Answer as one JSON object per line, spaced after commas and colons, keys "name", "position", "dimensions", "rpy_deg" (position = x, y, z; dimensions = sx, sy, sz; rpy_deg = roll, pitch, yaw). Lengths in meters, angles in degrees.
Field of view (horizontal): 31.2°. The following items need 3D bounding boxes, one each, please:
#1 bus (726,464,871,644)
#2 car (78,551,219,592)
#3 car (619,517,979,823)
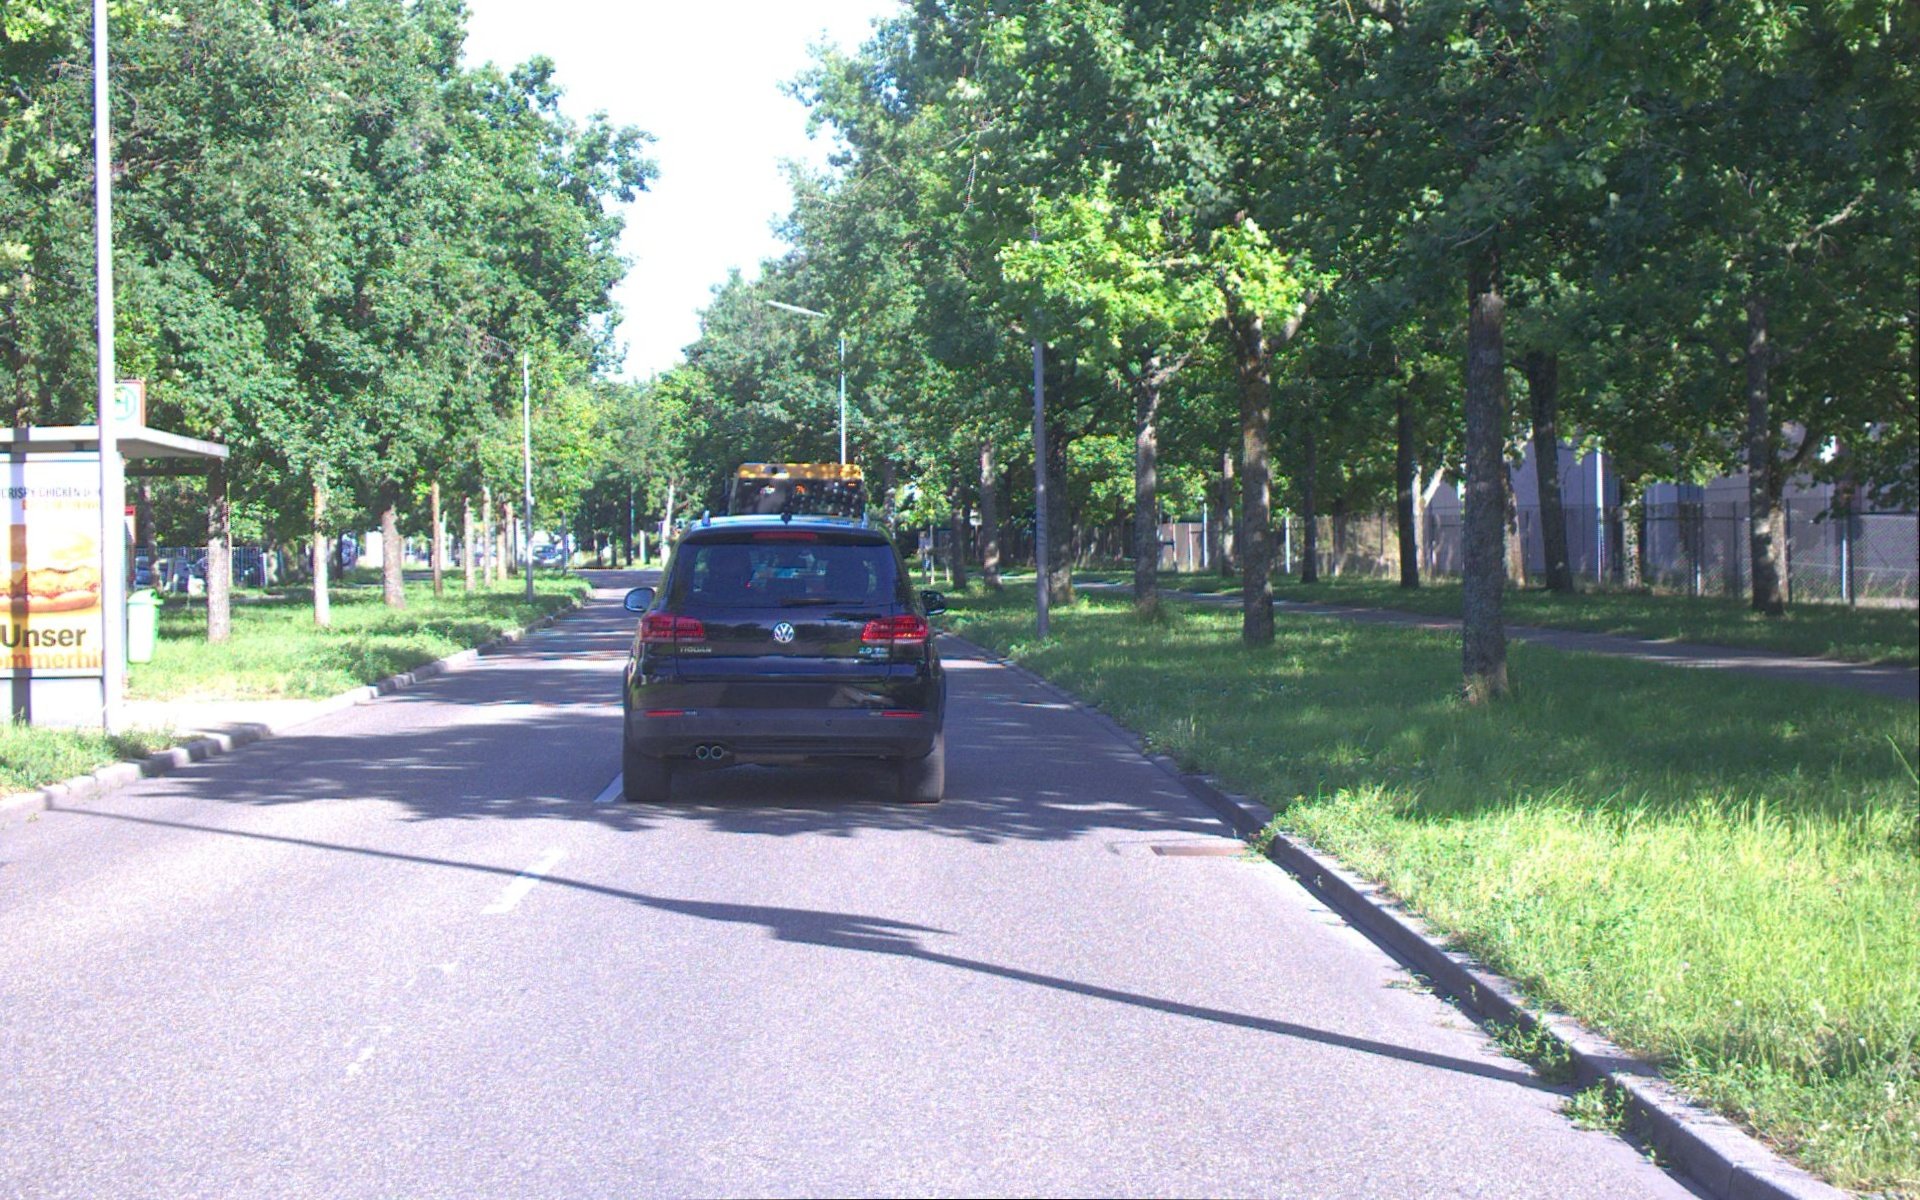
{"name": "bus", "position": [-3.324, -0.998, 72.260], "dimensions": [2.764, 3.445, 11.212], "rpy_deg": [-1, 1, -2]}
{"name": "car", "position": [-27.245, -0.964, 115.511], "dimensions": [4.198, 1.317, 1.941], "rpy_deg": [-1, 1, 3]}
{"name": "car", "position": [-0.984, 0.333, 20.963], "dimensions": [1.936, 1.650, 4.428], "rpy_deg": [1, 1, -3]}
